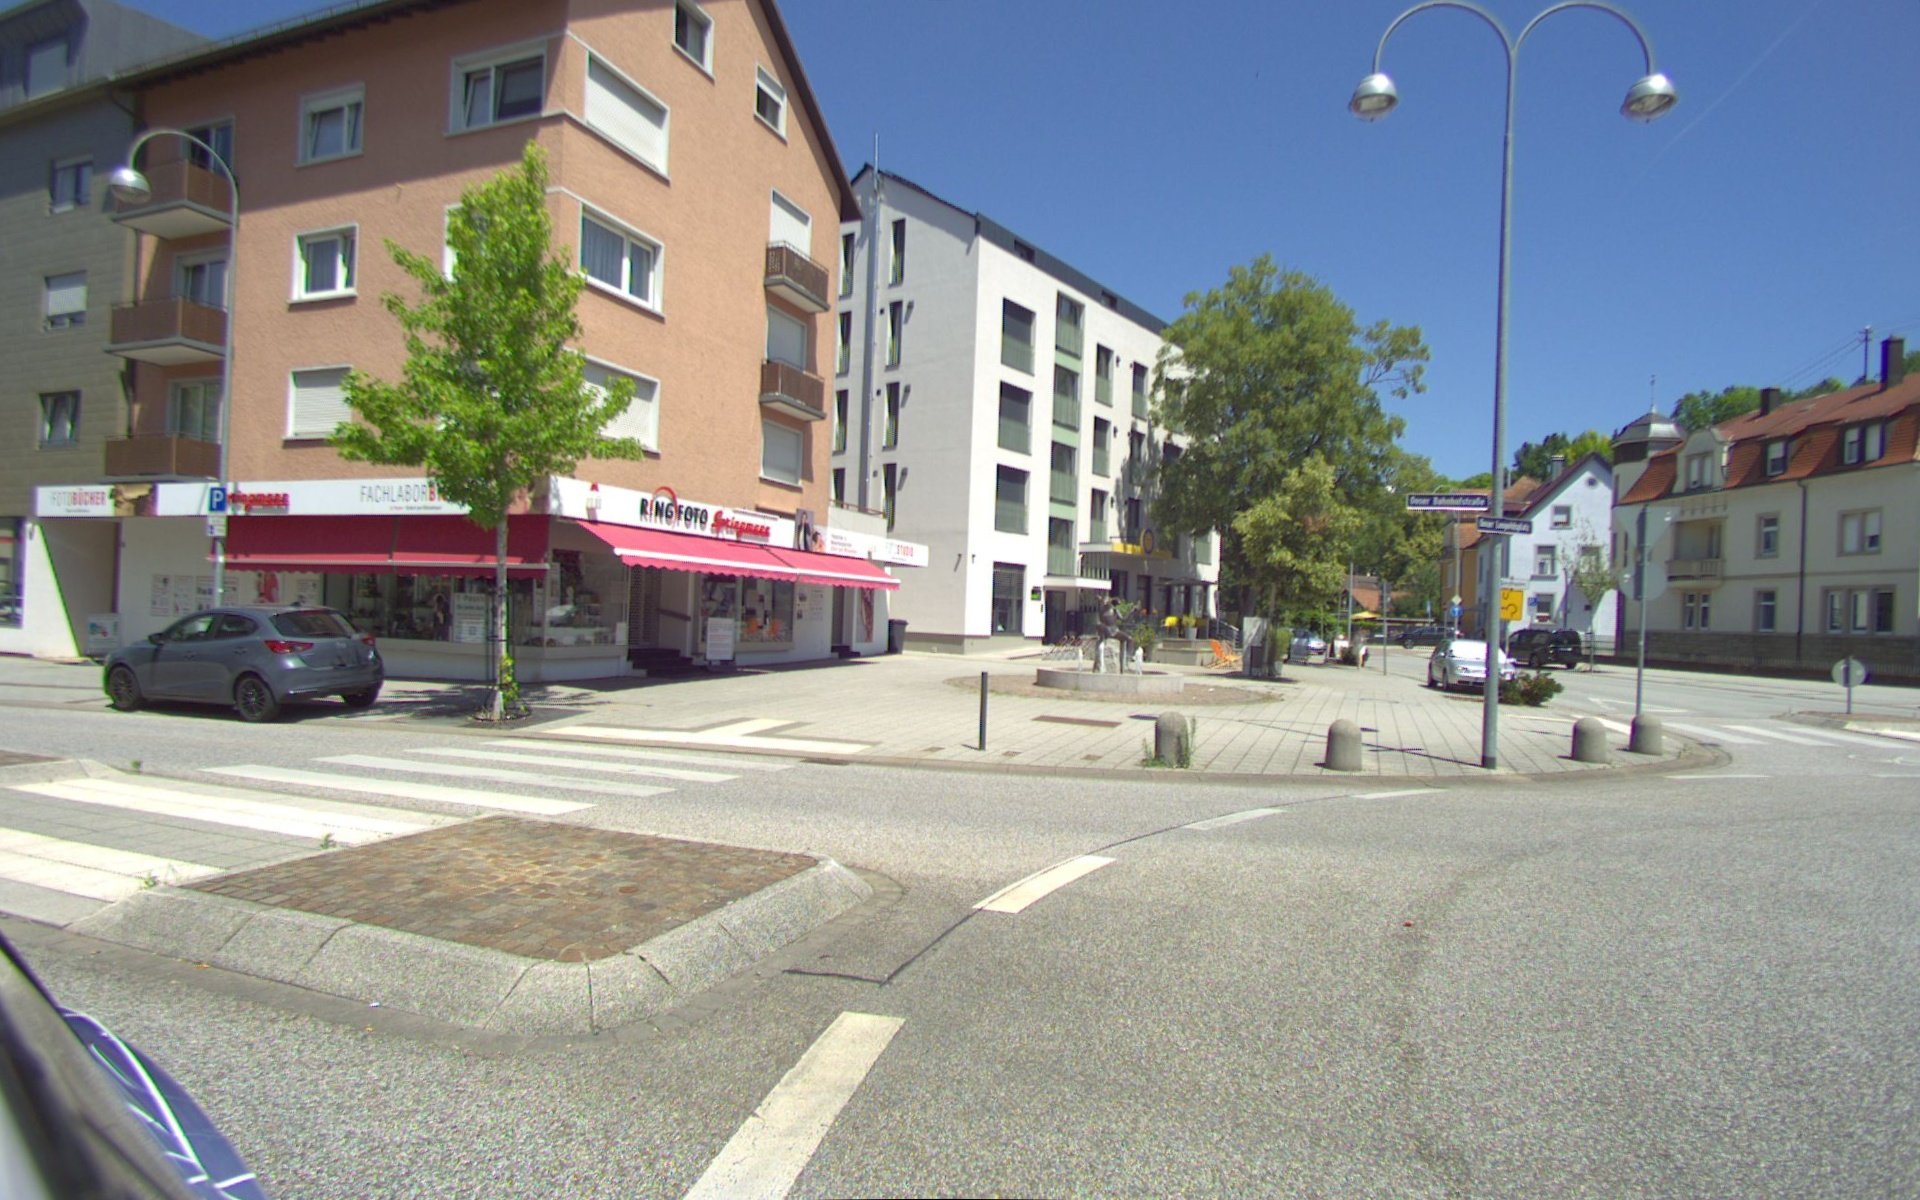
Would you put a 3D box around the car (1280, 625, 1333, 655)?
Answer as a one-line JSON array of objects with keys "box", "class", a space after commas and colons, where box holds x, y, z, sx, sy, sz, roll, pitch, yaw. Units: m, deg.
[{"box": [20.308, 2.328, 59.508, 1.975, 1.668, 4.196, 1, -1, 6], "class": "car"}]

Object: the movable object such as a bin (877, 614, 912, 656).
[{"box": [-2.014, 1.059, 31.039, 0.742, 1.262, 0.830, 1, -2, 24], "class": "movable object such as a bin"}]

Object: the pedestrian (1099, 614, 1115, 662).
[{"box": [5.062, 1.308, 34.752, 0.447, 1.631, 0.448, 1, -2, 20], "class": "pedestrian"}]

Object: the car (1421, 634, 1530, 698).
[{"box": [13.907, 1.716, 27.523, 1.780, 1.536, 3.981, 1, -1, 15], "class": "car"}]

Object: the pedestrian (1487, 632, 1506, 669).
[{"box": [30.368, 2.858, 57.250, 0.720, 2.029, 0.863, 0, -2, 45], "class": "pedestrian"}]

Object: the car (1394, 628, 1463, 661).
[{"box": [31.524, 2.978, 68.211, 3.970, 2.029, 1.987, 1, -1, 20], "class": "car"}]

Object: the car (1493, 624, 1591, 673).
[{"box": [26.758, 2.190, 46.715, 1.970, 2.029, 4.004, 1, 1, -4], "class": "car"}]

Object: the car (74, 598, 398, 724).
[{"box": [-10.053, 0.762, 14.078, 4.029, 1.497, 1.662, 1, 1, 19], "class": "car"}]

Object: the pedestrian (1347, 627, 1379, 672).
[{"box": [15.270, 1.882, 38.349, 0.936, 1.661, 0.820, 2, -2, -42], "class": "pedestrian"}]
